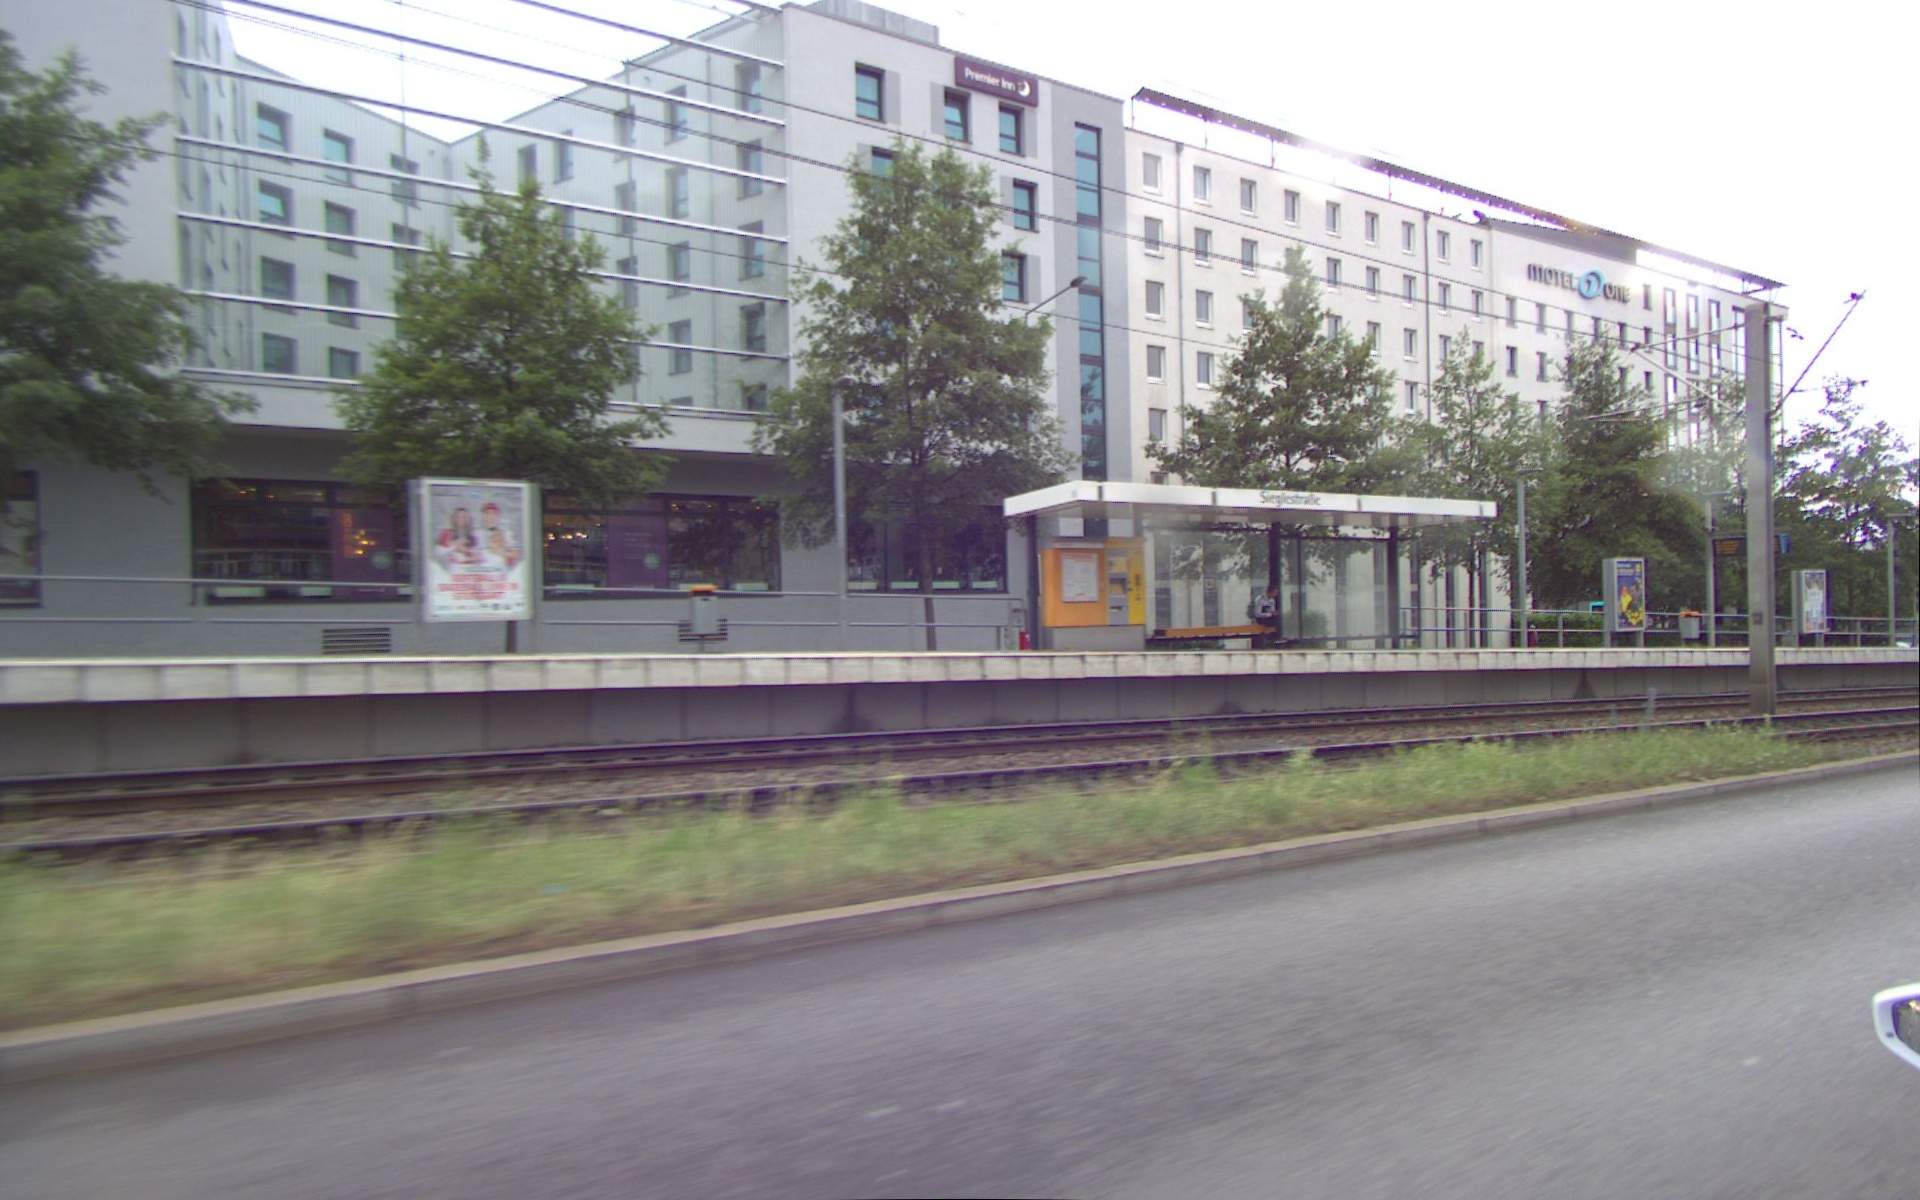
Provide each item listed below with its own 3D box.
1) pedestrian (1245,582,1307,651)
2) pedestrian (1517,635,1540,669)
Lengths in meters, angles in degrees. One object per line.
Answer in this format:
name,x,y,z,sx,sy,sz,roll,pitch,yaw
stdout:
pedestrian,6.228,0.329,19.829,0.676,1.317,0.957,1,-1,-29
pedestrian,27.921,2.547,49.304,0.825,1.599,0.597,2,0,-28
